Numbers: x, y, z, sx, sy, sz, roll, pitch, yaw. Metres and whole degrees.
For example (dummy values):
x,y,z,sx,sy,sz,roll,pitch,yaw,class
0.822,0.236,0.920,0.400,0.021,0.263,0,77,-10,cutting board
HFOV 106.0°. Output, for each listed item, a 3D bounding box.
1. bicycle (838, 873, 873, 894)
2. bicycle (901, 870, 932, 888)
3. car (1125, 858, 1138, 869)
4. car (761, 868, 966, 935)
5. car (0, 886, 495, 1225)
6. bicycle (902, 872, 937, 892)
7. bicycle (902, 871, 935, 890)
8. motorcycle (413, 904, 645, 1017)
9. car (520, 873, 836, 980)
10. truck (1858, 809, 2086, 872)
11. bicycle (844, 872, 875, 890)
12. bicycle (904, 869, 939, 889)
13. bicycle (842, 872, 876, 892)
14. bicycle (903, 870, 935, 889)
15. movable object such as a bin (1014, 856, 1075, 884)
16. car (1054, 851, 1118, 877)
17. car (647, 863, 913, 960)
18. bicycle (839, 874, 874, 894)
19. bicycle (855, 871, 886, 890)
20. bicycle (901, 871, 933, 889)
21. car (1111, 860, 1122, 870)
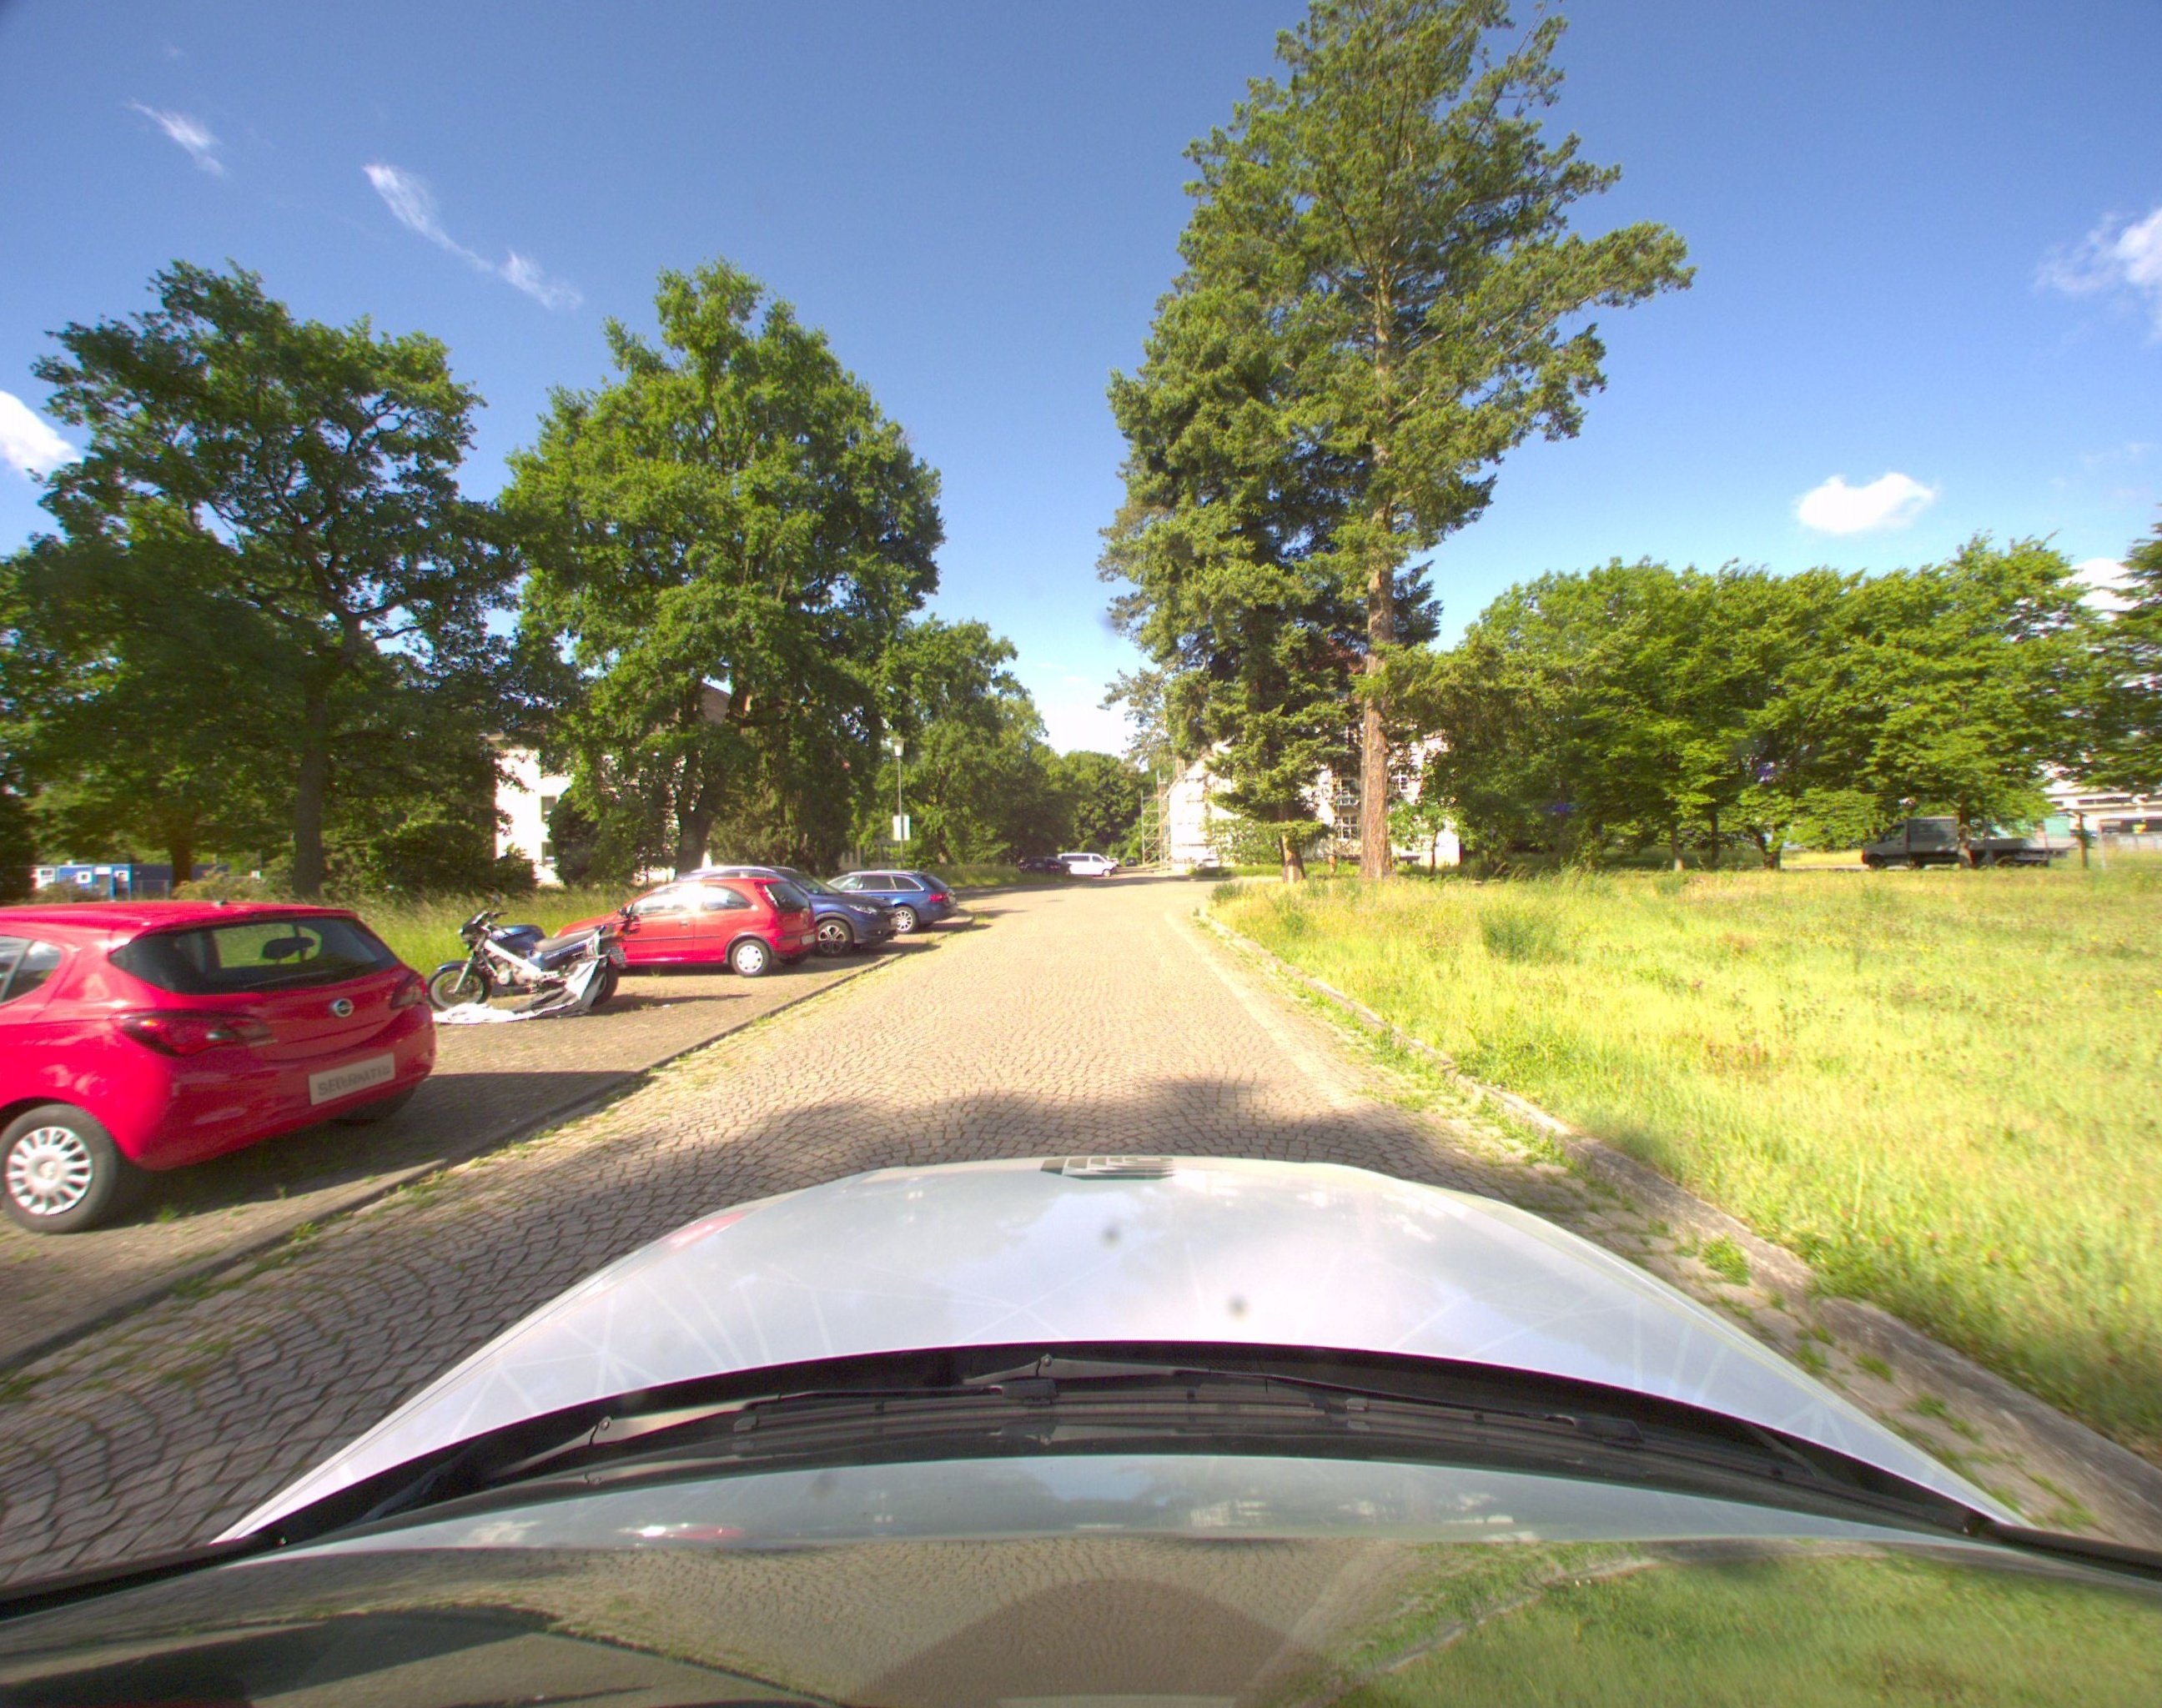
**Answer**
x,y,z,sx,sy,sz,roll,pitch,yaw,class
-13.549,1.772,48.990,1.921,1.103,0.566,-2,1,-23,bicycle
-10.967,1.630,54.159,1.919,1.058,0.473,-4,0,-19,bicycle
8.251,1.610,134.520,1.963,1.668,4.087,-2,-1,2,car
-5.129,1.103,19.592,4.339,1.445,1.923,-1,0,4,car
-5.980,0.972,4.639,3.910,1.461,1.842,-1,0,0,car
-9.527,1.657,48.173,1.924,1.058,0.472,-4,0,-27,bicycle
-9.921,1.621,49.731,1.920,1.058,0.472,-4,0,-21,bicycle
-6.162,1.182,9.138,2.233,1.162,0.577,-1,-1,3,motorcycle
-6.035,1.063,12.531,3.907,1.433,1.843,-1,0,3,car
37.180,-0.482,34.441,2.225,2.424,6.887,0,-1,1,truck
-14.824,1.777,54.533,1.920,1.103,0.566,-1,1,-22,bicycle
-9.530,1.486,48.729,1.924,1.058,0.472,-4,0,-27,bicycle
-13.806,1.739,50.659,1.923,1.103,0.565,-1,1,-26,bicycle
-10.162,1.602,51.092,1.920,1.058,0.472,-4,0,-21,bicycle
-2.484,1.099,55.337,3.535,1.745,2.035,-2,-1,20,movable object such as a bin
0.460,0.855,68.369,5.215,2.016,1.950,-1,-1,1,car
-5.363,0.993,14.913,4.119,1.579,1.885,-1,0,2,car
-13.354,1.768,48.489,1.921,1.103,0.566,-2,1,-23,bicycle
-13.707,1.720,53.042,1.918,1.103,0.567,-1,1,-17,bicycle
-10.436,1.647,51.911,1.919,1.058,0.473,-4,0,-19,bicycle
5.847,1.742,134.282,1.805,1.579,4.136,-2,-1,2,car
